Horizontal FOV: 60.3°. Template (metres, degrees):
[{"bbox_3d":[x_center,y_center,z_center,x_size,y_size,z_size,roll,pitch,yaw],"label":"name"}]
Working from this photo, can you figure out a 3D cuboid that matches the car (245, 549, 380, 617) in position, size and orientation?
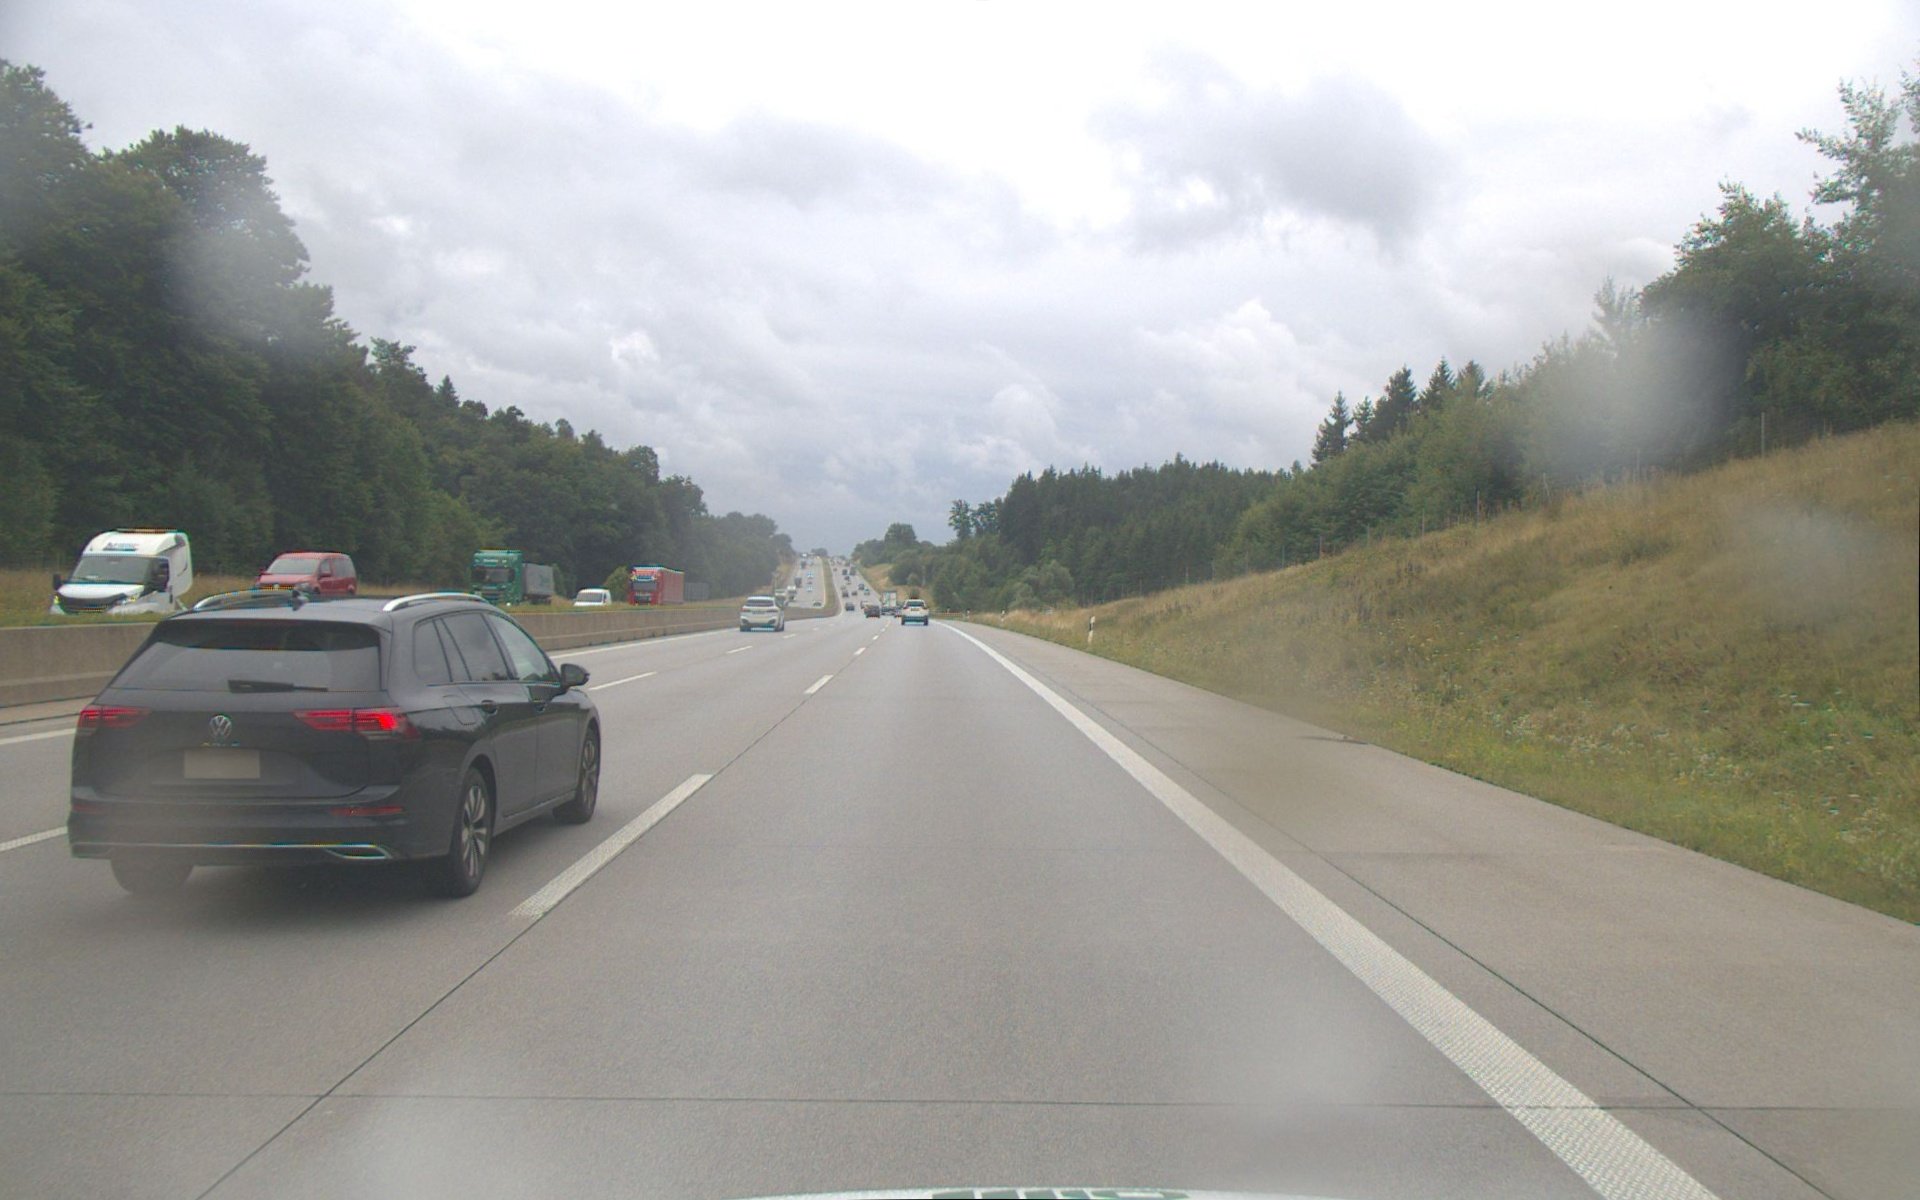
[{"bbox_3d":[-19.534,-0.476,50.196,1.953,1.915,5.313,1,0,0],"label":"car"}]

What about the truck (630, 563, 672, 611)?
[{"bbox_3d":[-26.715,-1.133,143.050,2.501,3.996,6.944,1,0,-2],"label":"truck"}]

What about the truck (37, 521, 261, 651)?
[{"bbox_3d":[-19.319,-0.330,39.839,2.221,2.837,6.510,1,0,-1],"label":"truck"}]

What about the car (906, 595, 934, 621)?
[{"bbox_3d":[-2.657,0.526,109.703,1.789,1.684,3.984,1,0,-1],"label":"car"}]

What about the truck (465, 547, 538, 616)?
[{"bbox_3d":[-26.214,-1.047,94.786,2.724,3.805,5.658,1,0,-2],"label":"truck"}]

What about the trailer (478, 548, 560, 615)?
[{"bbox_3d":[-26.376,-1.063,99.395,2.747,3.765,9.009,1,0,-2],"label":"trailer"}]

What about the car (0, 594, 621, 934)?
[{"bbox_3d":[-3.202,0.681,9.179,1.716,1.422,4.484,0,0,0],"label":"car"}]

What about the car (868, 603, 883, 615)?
[{"bbox_3d":[-11.077,1.159,216.907,1.897,1.399,4.591,1,0,-4],"label":"car"}]

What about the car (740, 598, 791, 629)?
[{"bbox_3d":[-8.850,0.597,75.505,1.908,1.379,4.258,1,0,-1],"label":"car"}]

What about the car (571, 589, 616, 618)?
[{"bbox_3d":[-21.407,0.193,96.749,1.744,1.627,4.559,1,0,-1],"label":"car"}]
